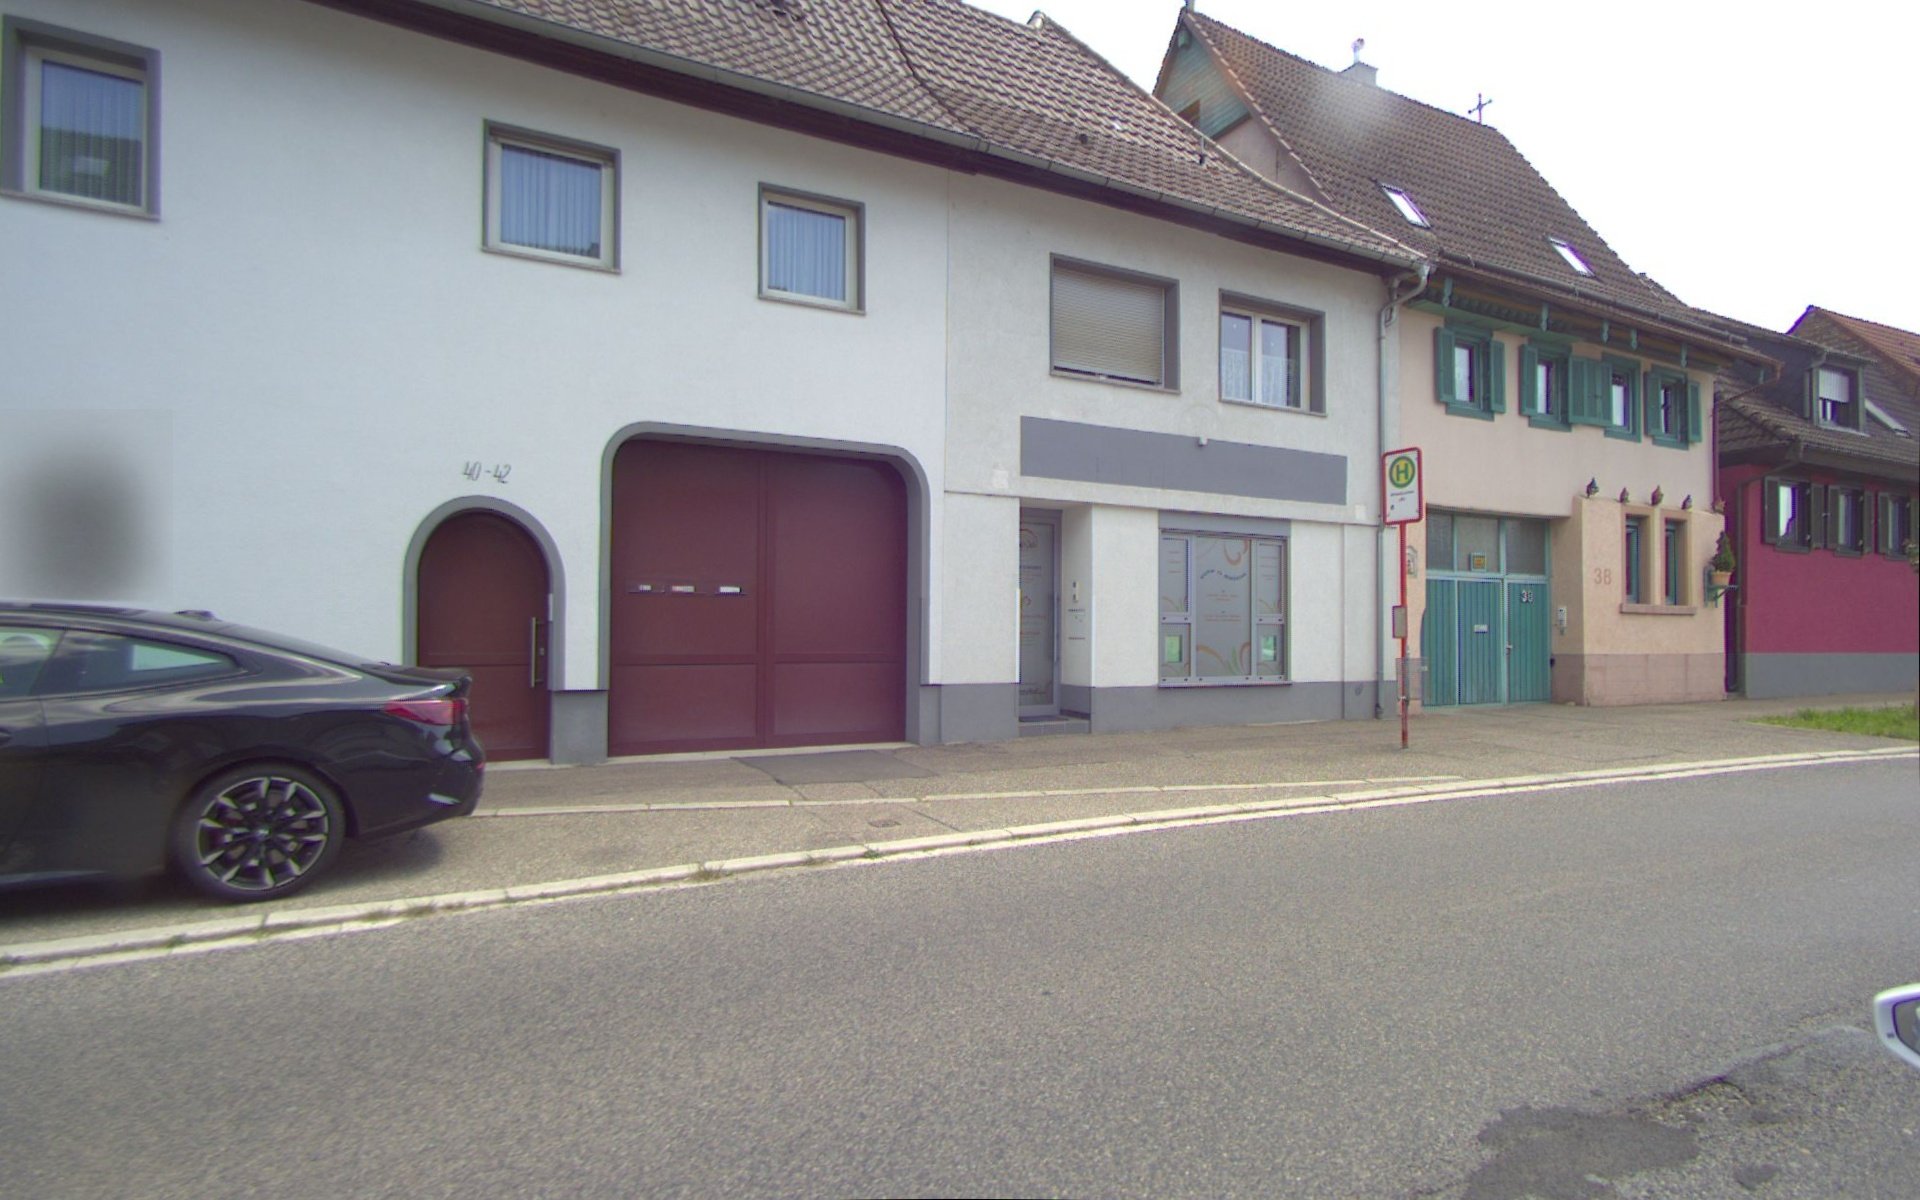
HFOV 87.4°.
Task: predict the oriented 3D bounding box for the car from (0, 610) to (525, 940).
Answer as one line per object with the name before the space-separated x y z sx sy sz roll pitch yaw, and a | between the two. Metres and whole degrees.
car | -4.729 0.735 4.761 4.704 1.367 1.755 1 0 -33
